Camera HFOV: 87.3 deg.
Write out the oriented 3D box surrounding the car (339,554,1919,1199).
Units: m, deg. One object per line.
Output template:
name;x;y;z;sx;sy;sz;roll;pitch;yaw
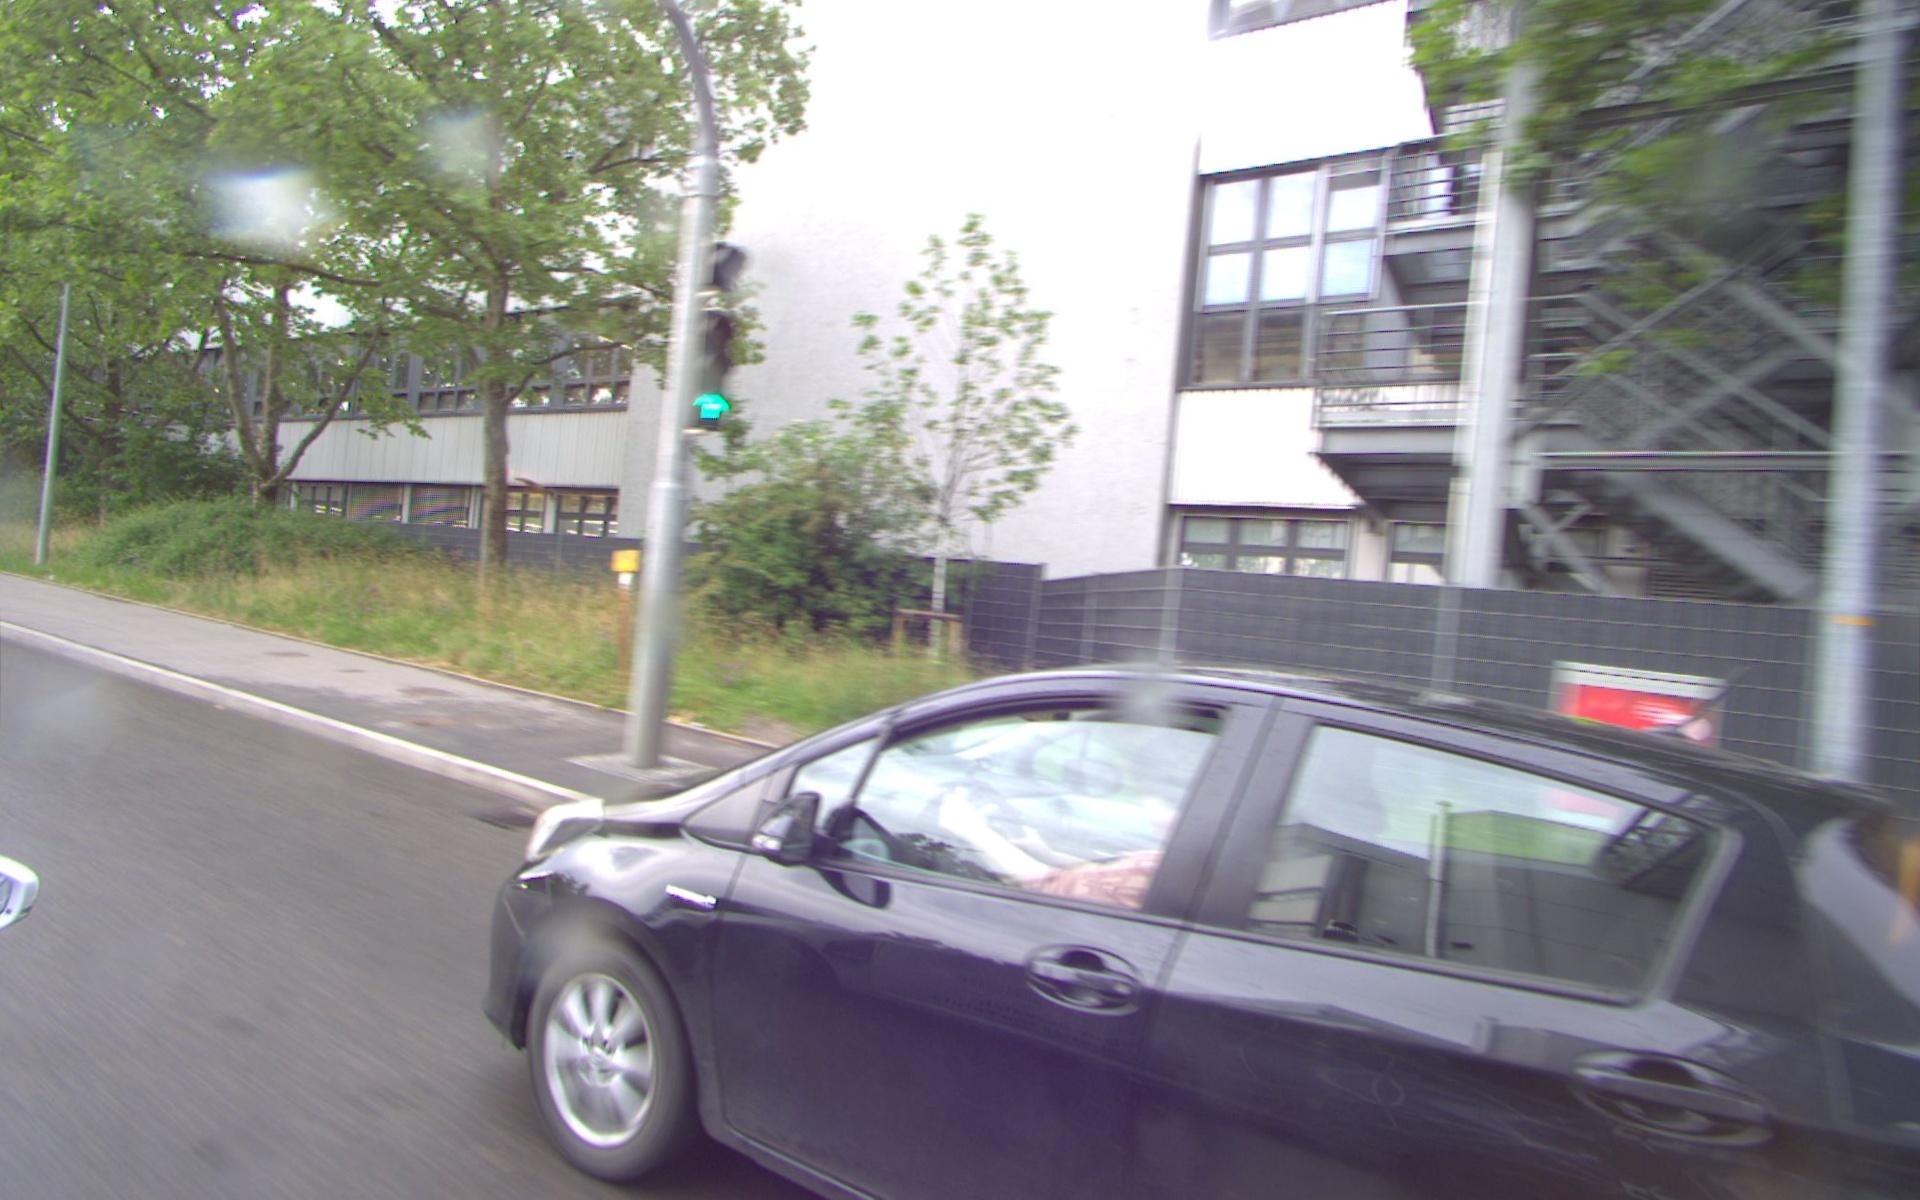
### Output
car;0.544;0.881;2.699;4.563;1.487;1.748;6;-1;31
